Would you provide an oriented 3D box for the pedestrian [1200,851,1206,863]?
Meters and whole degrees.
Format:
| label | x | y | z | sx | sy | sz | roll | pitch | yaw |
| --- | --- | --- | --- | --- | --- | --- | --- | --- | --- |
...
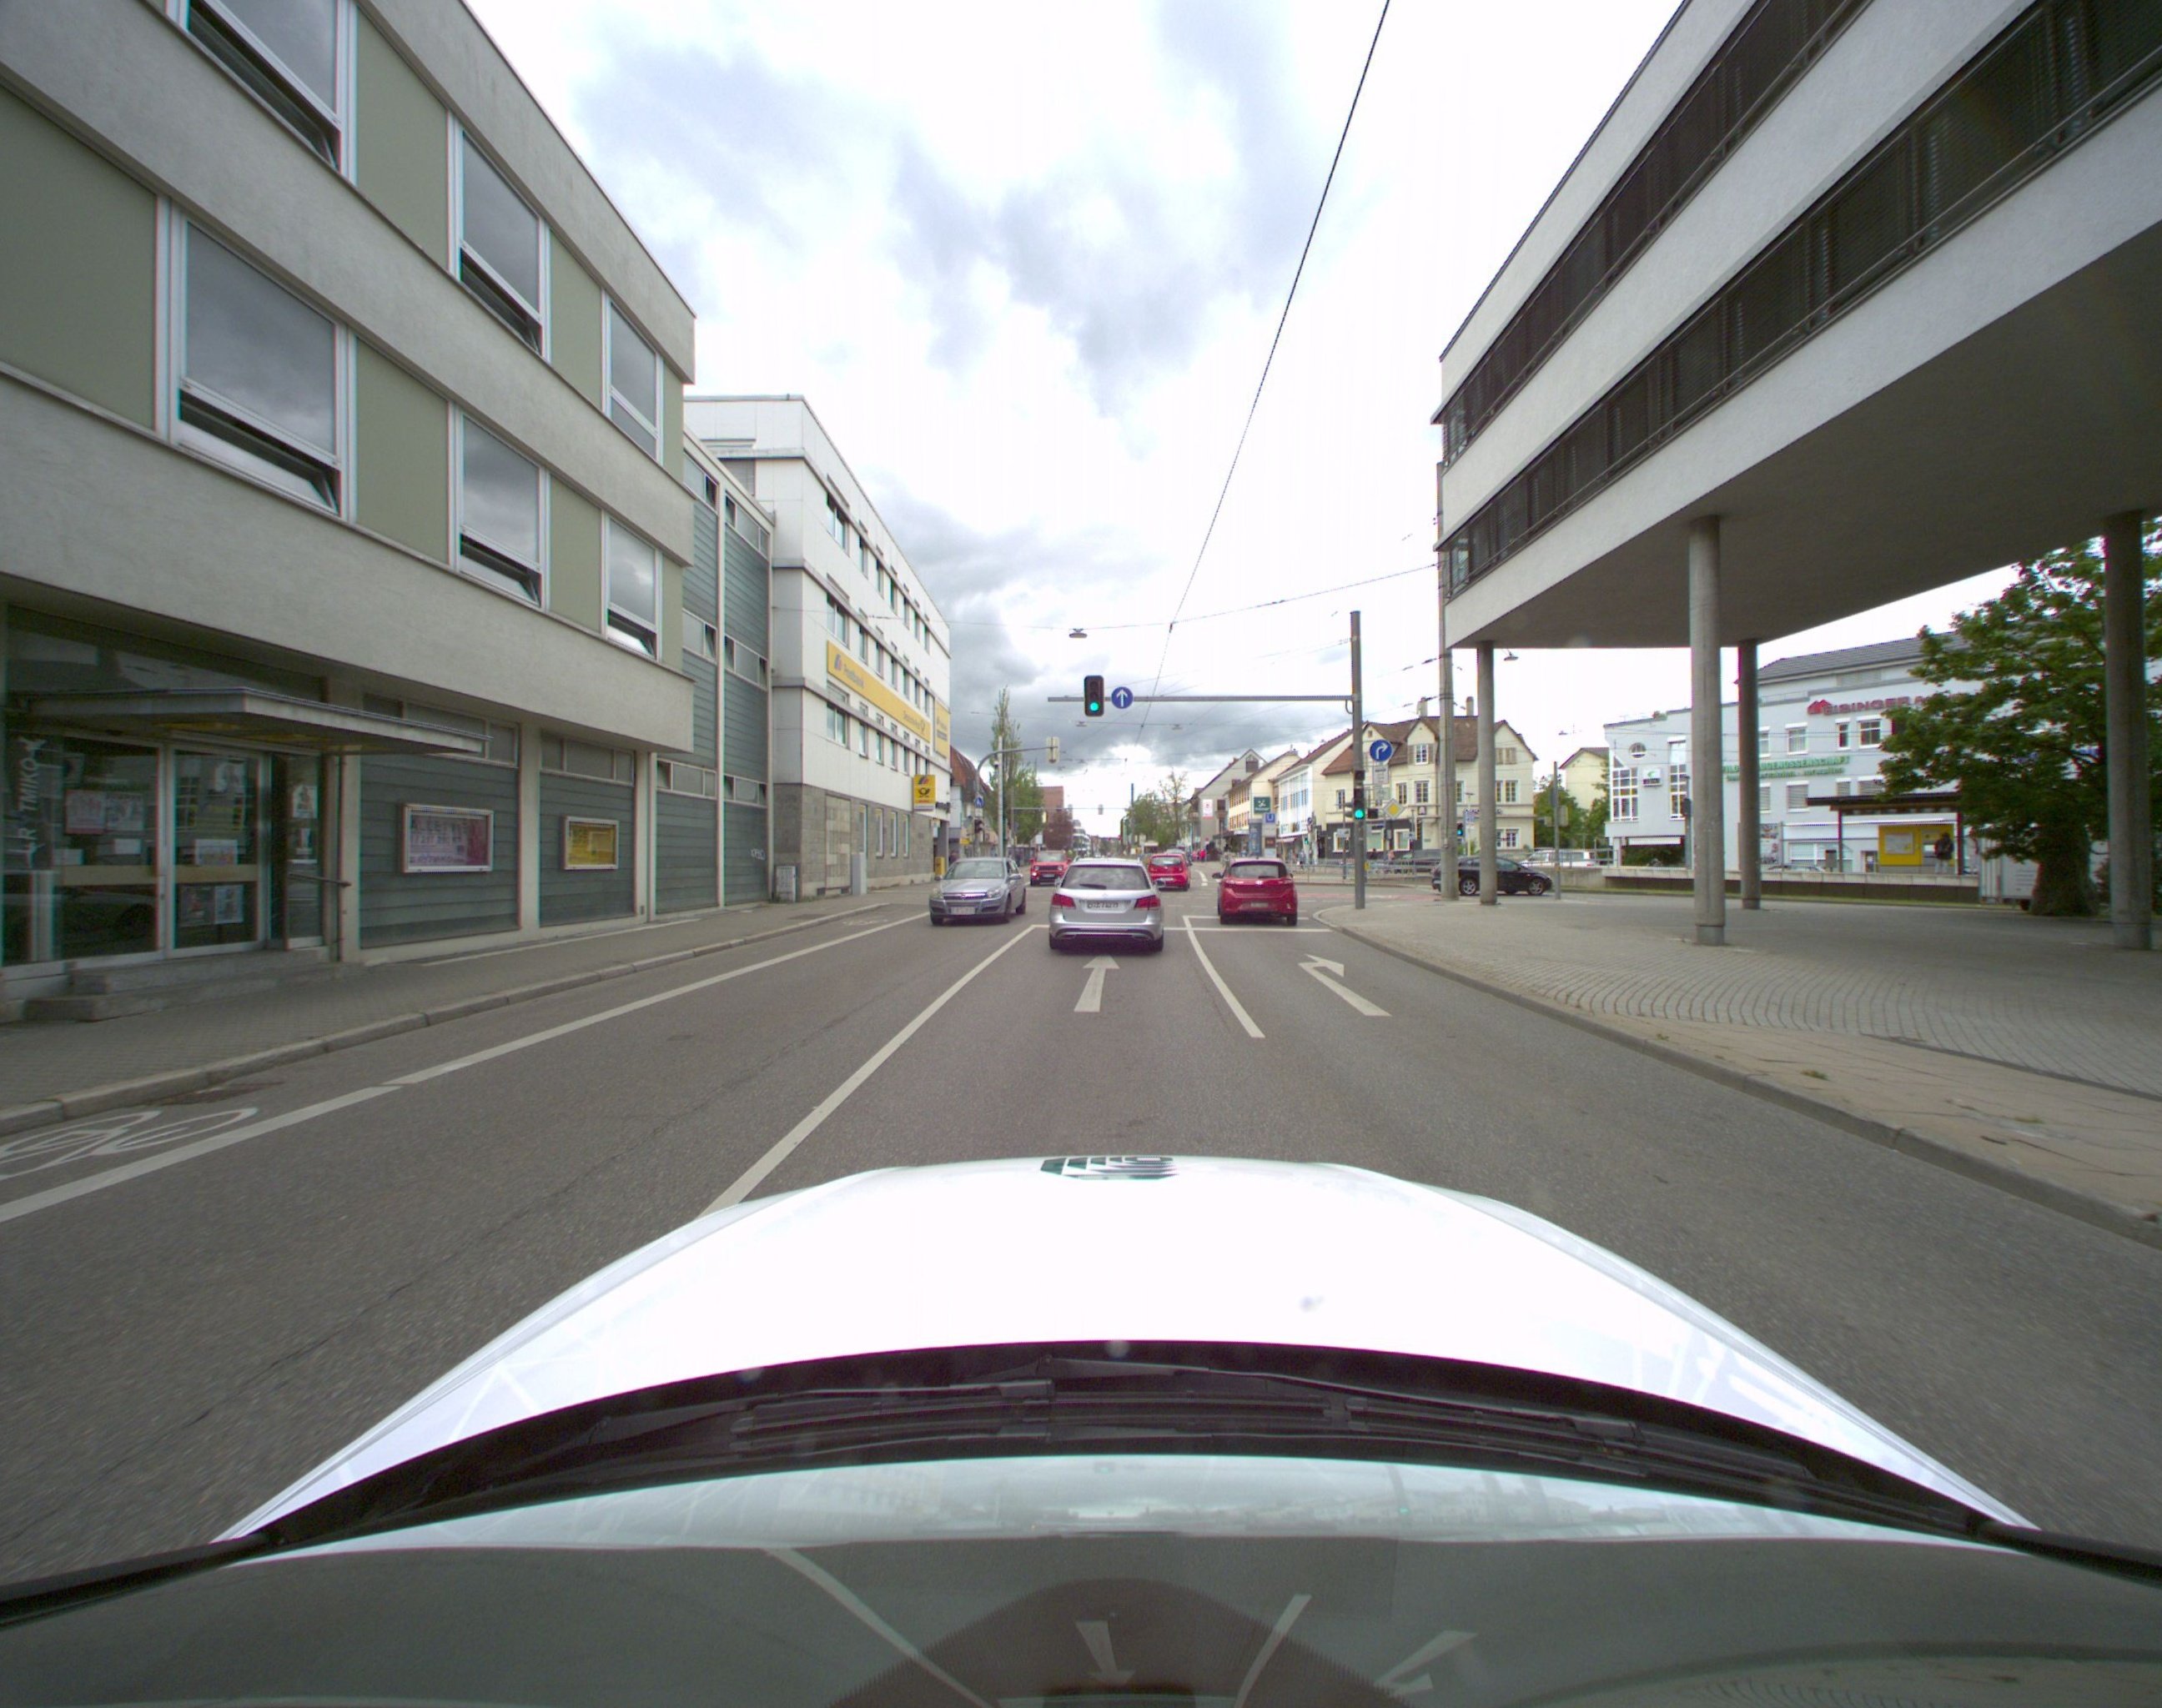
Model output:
| label | x | y | z | sx | sy | sz | roll | pitch | yaw |
| --- | --- | --- | --- | --- | --- | --- | --- | --- | --- |
| pedestrian | 14.690 | 0.382 | 98.138 | 0.576 | 1.469 | 0.650 | 1 | 0 | -3 |

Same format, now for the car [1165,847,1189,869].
| label | x | y | z | sx | sy | sz | roll | pitch | yaw |
| --- | --- | --- | --- | --- | --- | --- | --- | --- | --- |
| car | 8.227 | 0.318 | 69.920 | 1.727 | 1.759 | 4.003 | -1 | 0 | 3 |

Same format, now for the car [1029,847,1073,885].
| label | x | y | z | sx | sy | sz | roll | pitch | yaw |
| --- | --- | --- | --- | --- | --- | --- | --- | --- | --- |
| car | -1.405 | 0.525 | 39.060 | 1.792 | 1.694 | 3.899 | -1 | 0 | 2 |

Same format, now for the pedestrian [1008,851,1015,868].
| label | x | y | z | sx | sy | sz | roll | pitch | yaw |
| --- | --- | --- | --- | --- | --- | --- | --- | --- | --- |
| pedestrian | -6.734 | 0.548 | 78.857 | 0.634 | 1.606 | 0.702 | -1 | 0 | -12 |

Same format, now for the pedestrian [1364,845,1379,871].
| label | x | y | z | sx | sy | sz | roll | pitch | yaw |
| --- | --- | --- | --- | --- | --- | --- | --- | --- | --- |
| pedestrian | 19.251 | 0.278 | 54.006 | 0.703 | 1.718 | 0.647 | -1 | 0 | -14 |

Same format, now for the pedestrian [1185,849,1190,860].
| label | x | y | z | sx | sy | sz | roll | pitch | yaw |
| --- | --- | --- | --- | --- | --- | --- | --- | --- | --- |
| pedestrian | 14.172 | 0.015 | 108.239 | 0.577 | 1.435 | 0.650 | 1 | 0 | -4 |

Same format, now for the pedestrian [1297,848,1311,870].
| label | x | y | z | sx | sy | sz | roll | pitch | yaw |
| --- | --- | --- | --- | --- | --- | --- | --- | --- | --- |
| pedestrian | 17.190 | 0.391 | 62.747 | 0.839 | 1.718 | 0.726 | -1 | 0 | -2 |

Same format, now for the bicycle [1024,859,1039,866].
| label | x | y | z | sx | sy | sz | roll | pitch | yaw |
| --- | --- | --- | --- | --- | --- | --- | --- | --- | --- |
| bicycle | -6.637 | 1.143 | 109.554 | 1.937 | 1.029 | 0.529 | 1 | 0 | -9 |

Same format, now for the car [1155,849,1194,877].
| label | x | y | z | sx | sy | sz | roll | pitch | yaw |
| --- | --- | --- | --- | --- | --- | --- | --- | --- | --- |
| car | 5.335 | 0.481 | 47.017 | 1.729 | 1.508 | 3.999 | -1 | 0 | -1 |

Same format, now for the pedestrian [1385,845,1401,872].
| label | x | y | z | sx | sy | sz | roll | pitch | yaw |
| --- | --- | --- | --- | --- | --- | --- | --- | --- | --- |
| pedestrian | 20.315 | 0.294 | 53.029 | 0.792 | 1.718 | 0.643 | 1 | 0 | -35 |

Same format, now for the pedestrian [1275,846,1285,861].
| label | x | y | z | sx | sy | sz | roll | pitch | yaw |
| --- | --- | --- | --- | --- | --- | --- | --- | --- | --- |
| pedestrian | 20.880 | -0.038 | 85.527 | 0.642 | 1.591 | 0.892 | 1 | 0 | -19 |

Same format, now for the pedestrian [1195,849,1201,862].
| label | x | y | z | sx | sy | sz | roll | pitch | yaw |
| --- | --- | --- | --- | --- | --- | --- | --- | --- | --- |
| pedestrian | 14.594 | 0.205 | 101.524 | 0.577 | 1.666 | 0.650 | 1 | 0 | -5 |

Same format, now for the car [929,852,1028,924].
| label | x | y | z | sx | sy | sz | roll | pitch | yaw |
| --- | --- | --- | --- | --- | --- | --- | --- | --- | --- |
| car | -2.273 | 0.716 | 18.973 | 1.651 | 1.466 | 3.922 | -1 | 0 | 2 |

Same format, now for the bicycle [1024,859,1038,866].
| label | x | y | z | sx | sy | sz | roll | pitch | yaw |
| --- | --- | --- | --- | --- | --- | --- | --- | --- | --- |
| bicycle | -6.757 | 1.144 | 110.216 | 1.937 | 1.029 | 0.529 | 1 | 0 | -9 |

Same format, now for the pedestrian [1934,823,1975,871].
| label | x | y | z | sx | sy | sz | roll | pitch | yaw |
| --- | --- | --- | --- | --- | --- | --- | --- | --- | --- |
| pedestrian | 32.673 | -0.268 | 30.461 | 0.683 | 1.774 | 0.792 | 1 | 0 | 11 |

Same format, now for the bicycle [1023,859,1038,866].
| label | x | y | z | sx | sy | sz | roll | pitch | yaw |
| --- | --- | --- | --- | --- | --- | --- | --- | --- | --- |
| bicycle | -6.871 | 1.145 | 110.811 | 1.937 | 1.029 | 0.529 | 1 | 0 | -9 |

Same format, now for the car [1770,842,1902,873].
| label | x | y | z | sx | sy | sz | roll | pitch | yaw |
| --- | --- | --- | --- | --- | --- | --- | --- | --- | --- |
| car | 38.699 | 0.193 | 41.828 | 1.999 | 1.471 | 4.729 | 2 | -1 | -38 |

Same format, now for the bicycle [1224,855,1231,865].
| label | x | y | z | sx | sy | sz | roll | pitch | yaw |
| --- | --- | --- | --- | --- | --- | --- | --- | --- | --- |
| bicycle | 15.774 | 0.661 | 87.835 | 0.446 | 1.107 | 2.150 | -1 | 0 | 2 |

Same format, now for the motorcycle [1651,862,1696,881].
| label | x | y | z | sx | sy | sz | roll | pitch | yaw |
| --- | --- | --- | --- | --- | --- | --- | --- | --- | --- |
| motorcycle | 34.199 | 1.021 | 47.048 | 0.767 | 1.073 | 1.958 | 2 | -1 | -38 |

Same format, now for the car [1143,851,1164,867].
| label | x | y | z | sx | sy | sz | roll | pitch | yaw |
| --- | --- | --- | --- | --- | --- | --- | --- | --- | --- |
| car | 7.901 | 0.524 | 89.380 | 1.986 | 1.750 | 4.001 | 0 | 0 | 1 |

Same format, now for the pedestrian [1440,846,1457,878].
| label | x | y | z | sx | sy | sz | roll | pitch | yaw |
| --- | --- | --- | --- | --- | --- | --- | --- | --- | --- |
| pedestrian | 20.084 | 0.453 | 44.536 | 0.641 | 1.718 | 0.709 | -1 | 0 | 43 |

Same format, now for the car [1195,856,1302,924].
| label | x | y | z | sx | sy | sz | roll | pitch | yaw |
| --- | --- | --- | --- | --- | --- | --- | --- | --- | --- |
| car | 3.854 | 0.770 | 19.374 | 1.693 | 1.452 | 3.999 | 0 | 0 | -1 |

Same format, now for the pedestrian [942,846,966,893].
| label | x | y | z | sx | sy | sz | roll | pitch | yaw |
| --- | --- | --- | --- | --- | --- | --- | --- | --- | --- |
| pedestrian | -4.730 | 0.570 | 30.344 | 0.644 | 1.718 | 0.785 | 1 | 0 | 8 |

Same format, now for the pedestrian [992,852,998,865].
| label | x | y | z | sx | sy | sz | roll | pitch | yaw |
| --- | --- | --- | --- | --- | --- | --- | --- | --- | --- |
| pedestrian | -10.791 | 0.536 | 102.185 | 0.704 | 1.606 | 0.576 | -1 | 0 | -20 |

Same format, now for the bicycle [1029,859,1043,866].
| label | x | y | z | sx | sy | sz | roll | pitch | yaw |
| --- | --- | --- | --- | --- | --- | --- | --- | --- | --- |
| bicycle | -6.232 | 1.159 | 113.534 | 1.937 | 1.029 | 0.529 | 1 | 0 | -9 |

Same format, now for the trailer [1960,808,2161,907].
| label | x | y | z | sx | sy | sz | roll | pitch | yaw |
| --- | --- | --- | --- | --- | --- | --- | --- | --- | --- |
| trailer | 28.093 | 0.076 | 22.885 | 4.267 | 2.613 | 1.896 | 2 | 0 | 36 |

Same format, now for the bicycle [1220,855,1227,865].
| label | x | y | z | sx | sy | sz | roll | pitch | yaw |
| --- | --- | --- | --- | --- | --- | --- | --- | --- | --- |
| bicycle | 15.326 | 0.674 | 87.843 | 0.446 | 1.091 | 2.150 | -1 | 0 | 2 |

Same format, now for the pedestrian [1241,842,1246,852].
| label | x | y | z | sx | sy | sz | roll | pitch | yaw |
| --- | --- | --- | --- | --- | --- | --- | --- | --- | --- |
| pedestrian | 20.631 | -0.884 | 103.392 | 0.531 | 1.218 | 0.579 | 1 | 0 | -1 |

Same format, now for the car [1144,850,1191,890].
| label | x | y | z | sx | sy | sz | roll | pitch | yaw |
| --- | --- | --- | --- | --- | --- | --- | --- | --- | --- |
| car | 3.553 | 0.602 | 32.991 | 1.724 | 1.508 | 4.010 | 0 | 0 | 8 |

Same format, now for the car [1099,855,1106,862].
| label | x | y | z | sx | sy | sz | roll | pitch | yaw |
| --- | --- | --- | --- | --- | --- | --- | --- | --- | --- |
| car | 6.525 | 1.369 | 246.049 | 1.986 | 2.013 | 4.001 | 0 | 0 | 1 |

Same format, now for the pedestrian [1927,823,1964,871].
| label | x | y | z | sx | sy | sz | roll | pitch | yaw |
| --- | --- | --- | --- | --- | --- | --- | --- | --- | --- |
| pedestrian | 31.621 | -0.257 | 29.801 | 0.779 | 1.718 | 0.694 | 1 | 0 | 37 |

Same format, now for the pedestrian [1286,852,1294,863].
| label | x | y | z | sx | sy | sz | roll | pitch | yaw |
| --- | --- | --- | --- | --- | --- | --- | --- | --- | --- |
| pedestrian | 22.730 | 0.378 | 88.624 | 0.734 | 1.164 | 0.642 | 1 | 0 | -1 |

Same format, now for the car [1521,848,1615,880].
| label | x | y | z | sx | sy | sz | roll | pitch | yaw |
| --- | --- | --- | --- | --- | --- | --- | --- | --- | --- |
| car | 30.828 | 0.609 | 51.668 | 1.999 | 1.919 | 4.729 | 2 | -1 | -38 |

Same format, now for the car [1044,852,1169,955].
| label | x | y | z | sx | sy | sz | roll | pitch | yaw |
| --- | --- | --- | --- | --- | --- | --- | --- | --- | --- |
| car | 0.460 | 0.728 | 14.142 | 1.838 | 1.508 | 4.173 | 1 | 0 | 2 |

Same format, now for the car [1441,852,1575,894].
| label | x | y | z | sx | sy | sz | roll | pitch | yaw |
| --- | --- | --- | --- | --- | --- | --- | --- | --- | --- |
| car | 15.419 | 0.653 | 29.513 | 3.979 | 1.410 | 1.738 | -1 | 0 | -4 |
